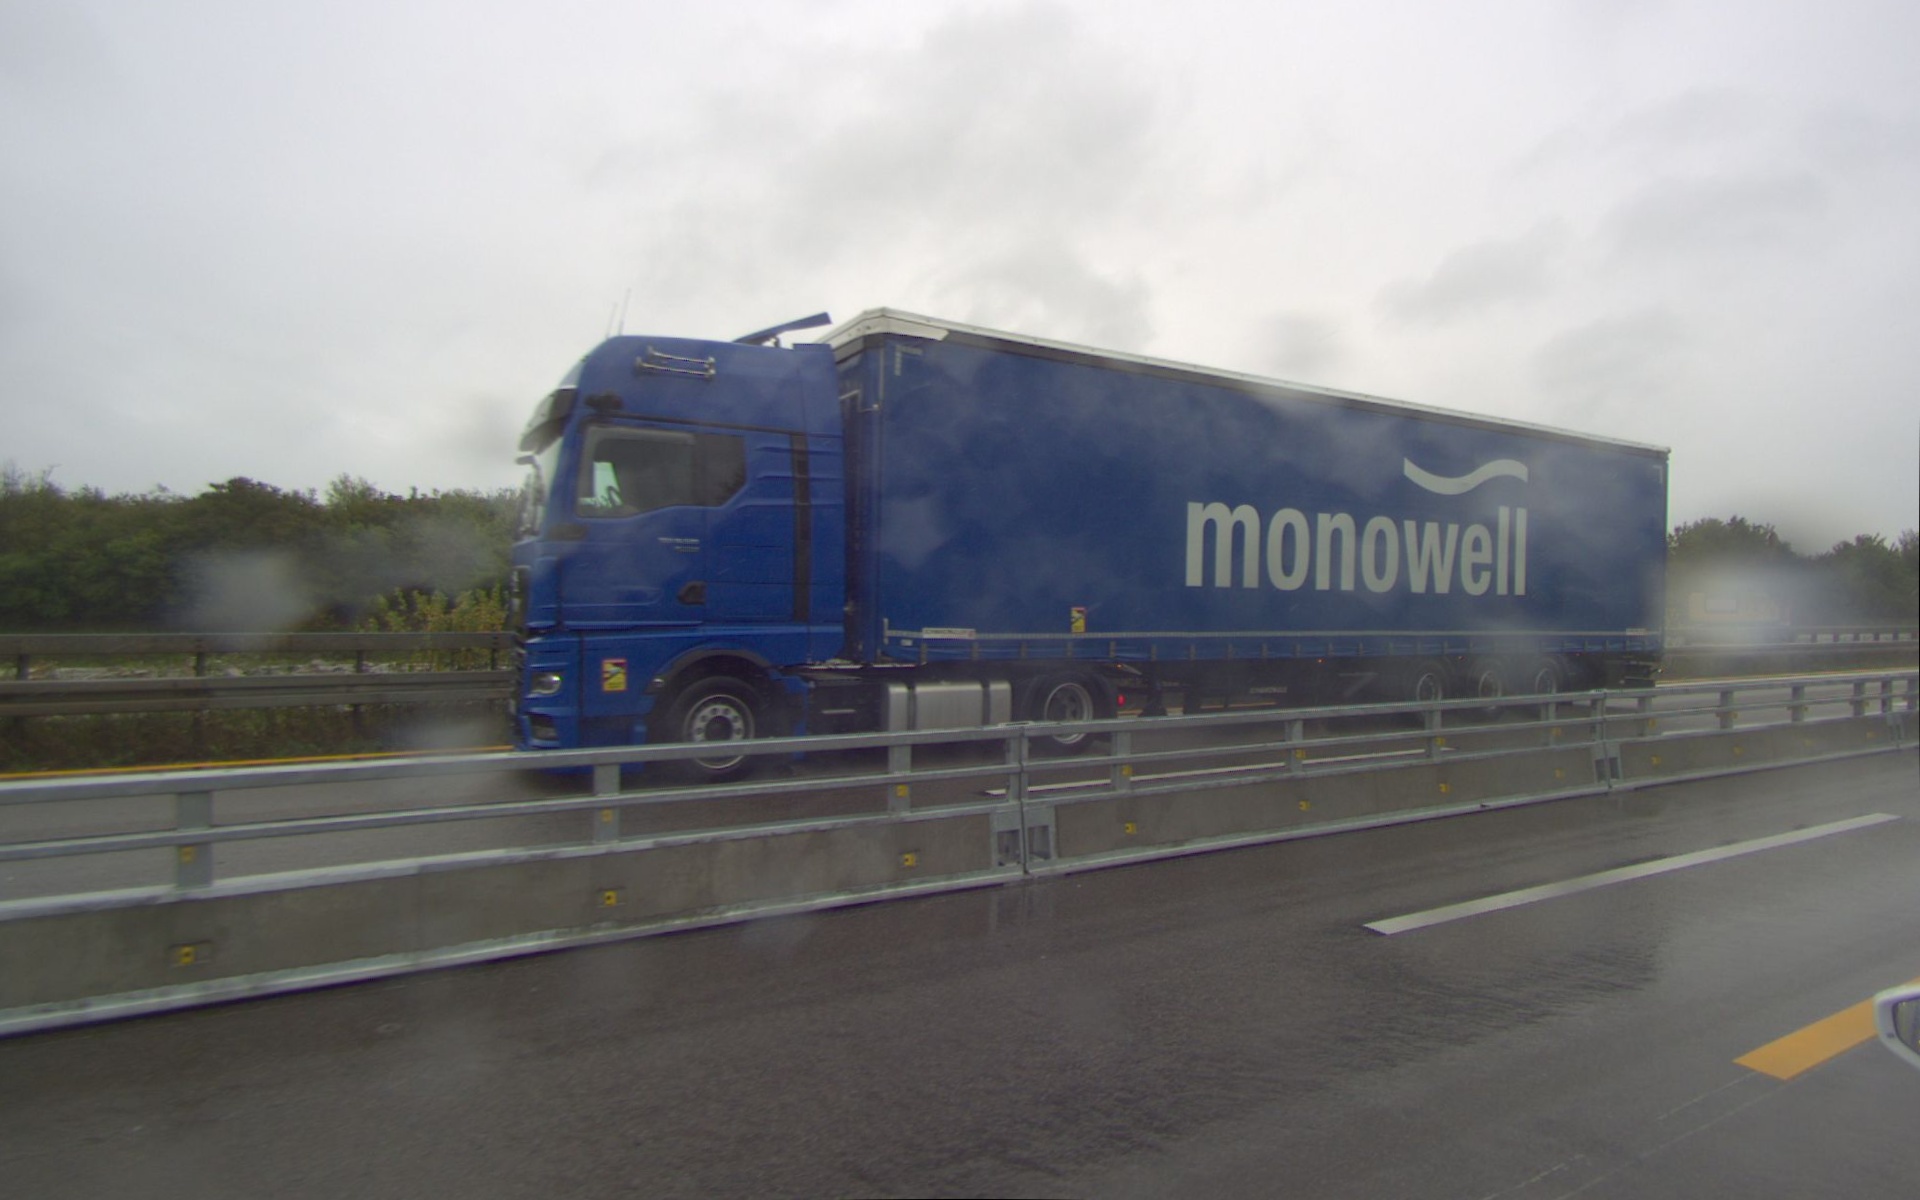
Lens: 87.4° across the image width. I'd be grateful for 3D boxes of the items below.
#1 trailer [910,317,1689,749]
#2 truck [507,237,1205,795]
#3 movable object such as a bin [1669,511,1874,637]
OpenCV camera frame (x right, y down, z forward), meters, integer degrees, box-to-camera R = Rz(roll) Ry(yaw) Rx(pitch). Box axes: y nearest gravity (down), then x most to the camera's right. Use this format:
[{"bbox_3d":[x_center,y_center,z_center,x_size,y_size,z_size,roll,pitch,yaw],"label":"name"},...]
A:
[{"bbox_3d":[5.387,-0.546,13.769,12.282,4.132,2.588,1,0,-30],"label":"trailer"},{"bbox_3d":[-0.911,-0.612,10.213,6.587,4.136,2.612,0,0,-29],"label":"truck"},{"bbox_3d":[42.251,-1.174,52.220,10.904,5.994,4.155,1,1,-27],"label":"movable object such as a bin"}]
